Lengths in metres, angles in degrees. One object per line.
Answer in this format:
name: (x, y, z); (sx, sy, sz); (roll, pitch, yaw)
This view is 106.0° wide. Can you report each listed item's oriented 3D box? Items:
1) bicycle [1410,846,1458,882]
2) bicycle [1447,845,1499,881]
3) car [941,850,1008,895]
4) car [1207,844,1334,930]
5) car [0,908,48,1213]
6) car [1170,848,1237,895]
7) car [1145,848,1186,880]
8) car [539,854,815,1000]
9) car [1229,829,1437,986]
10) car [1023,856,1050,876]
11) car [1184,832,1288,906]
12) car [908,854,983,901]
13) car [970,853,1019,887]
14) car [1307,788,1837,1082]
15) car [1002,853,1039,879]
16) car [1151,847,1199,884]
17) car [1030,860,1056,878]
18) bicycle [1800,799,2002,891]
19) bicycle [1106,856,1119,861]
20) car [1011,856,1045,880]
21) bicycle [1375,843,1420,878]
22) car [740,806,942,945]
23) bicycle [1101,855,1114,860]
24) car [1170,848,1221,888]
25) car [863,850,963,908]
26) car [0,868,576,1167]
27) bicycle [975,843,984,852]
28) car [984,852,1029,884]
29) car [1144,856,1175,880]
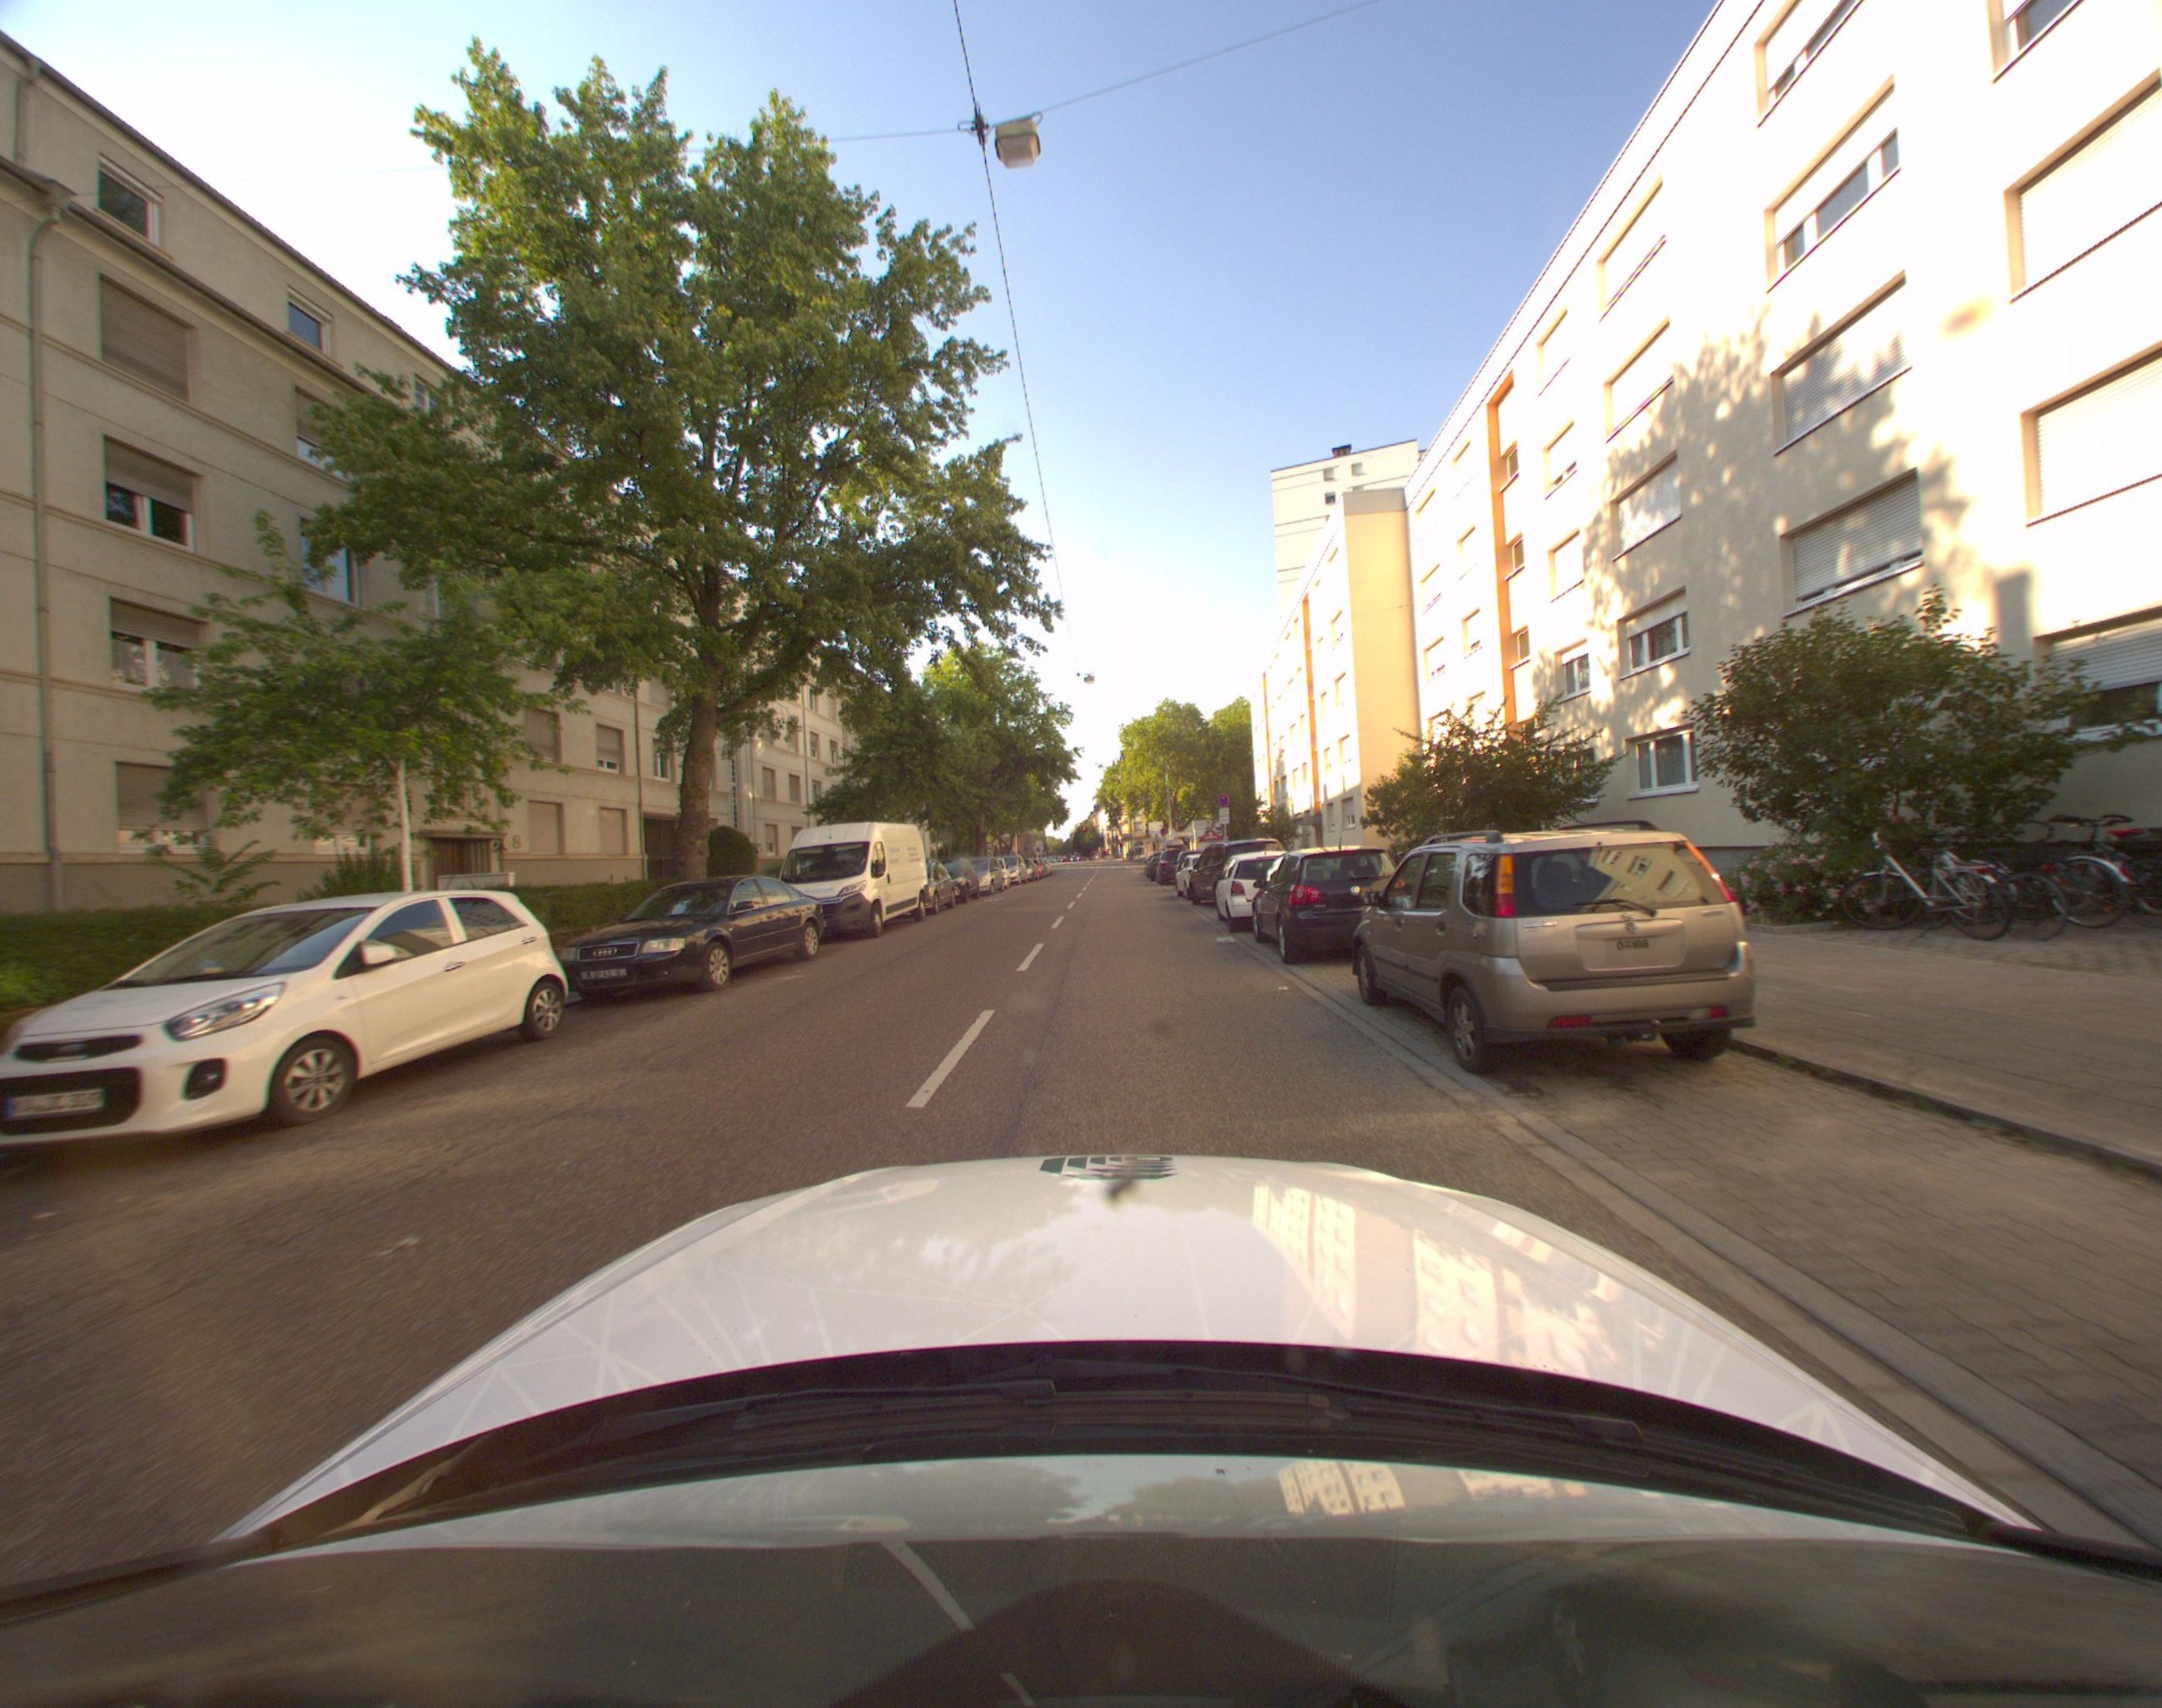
bicycle: (11.619, 0.295, 26.874); (0.598, 1.081, 2.395); (-3, 1, 2)
bicycle: (12.774, 0.271, 26.613); (0.598, 1.081, 2.395); (-3, 1, 2)
car: (-4.410, 0.742, 34.604); (1.864, 1.558, 5.059); (-7, 0, 2)
car: (3.675, 0.632, 16.511); (1.829, 1.501, 4.175); (-1, -1, 3)
car: (-5.786, 0.887, 1.458); (1.867, 1.355, 4.653); (-1, -1, 0)
car: (3.989, 0.592, 27.152); (1.673, 1.415, 4.725); (-1, -1, 2)
car: (4.639, 0.598, 45.297); (1.919, 1.659, 4.679); (-1, -1, 2)
car: (-5.246, 0.876, 11.221); (1.700, 1.574, 3.821); (-3, -1, 2)
car: (3.447, 0.698, 11.959); (1.830, 1.772, 3.980); (-5, -1, 2)
car: (-3.324, 0.953, 61.310); (1.697, 1.440, 4.130); (-1, -1, 2)
car: (3.984, 0.411, 21.706); (2.016, 1.750, 4.768); (-1, -1, 2)
car: (-4.828, 0.834, 29.645); (1.863, 1.558, 4.367); (-1, -1, 2)
car: (-4.267, 0.803, 40.813); (1.863, 1.558, 4.102); (-1, -1, 2)
car: (3.433, 0.519, 6.875); (1.954, 1.605, 4.281); (-3, -1, 2)
car: (-3.758, 0.755, 51.203); (1.863, 1.558, 4.499); (-1, -1, 2)
car: (4.524, 0.543, 39.654); (1.890, 1.651, 4.344); (-2, 0, 2)
car: (-3.070, 1.240, 66.333); (1.762, 1.352, 4.712); (-1, -1, 2)
bicycle: (11.346, -0.094, 11.416); (0.491, 1.113, 2.398); (-6, -2, 6)
bicycle: (7.086, 1.055, 183.329); (2.798, 1.204, 0.509); (0, -2, -5)
car: (-3.551, 0.954, 55.338); (1.863, 1.558, 4.001); (-1, -1, 2)
bicycle: (10.548, 0.206, 27.240); (0.598, 1.081, 2.395); (-3, 1, 2)
car: (-5.097, 0.477, 18.582); (2.349, 2.445, 6.168); (-5, -2, 2)
bicycle: (5.982, 0.809, 184.898); (2.799, 1.204, 0.516); (0, -2, -6)
car: (4.617, 0.580, 33.283); (1.600, 1.494, 4.043); (-2, -1, 2)
car: (-4.906, 0.740, 24.385); (1.949, 1.558, 4.348); (-1, -1, 2)
car: (-5.796, 0.972, 6.170); (1.701, 1.574, 3.263); (-5, -2, 2)
bicycle: (-13.367, -0.849, 107.131); (0.715, 1.145, 3.293); (-1, -1, 2)
car: (-4.130, 0.778, 45.786); (1.909, 1.677, 4.976); (-1, -1, 2)
car: (5.024, 0.897, 52.431); (1.734, 1.473, 4.001); (-1, -1, 2)
